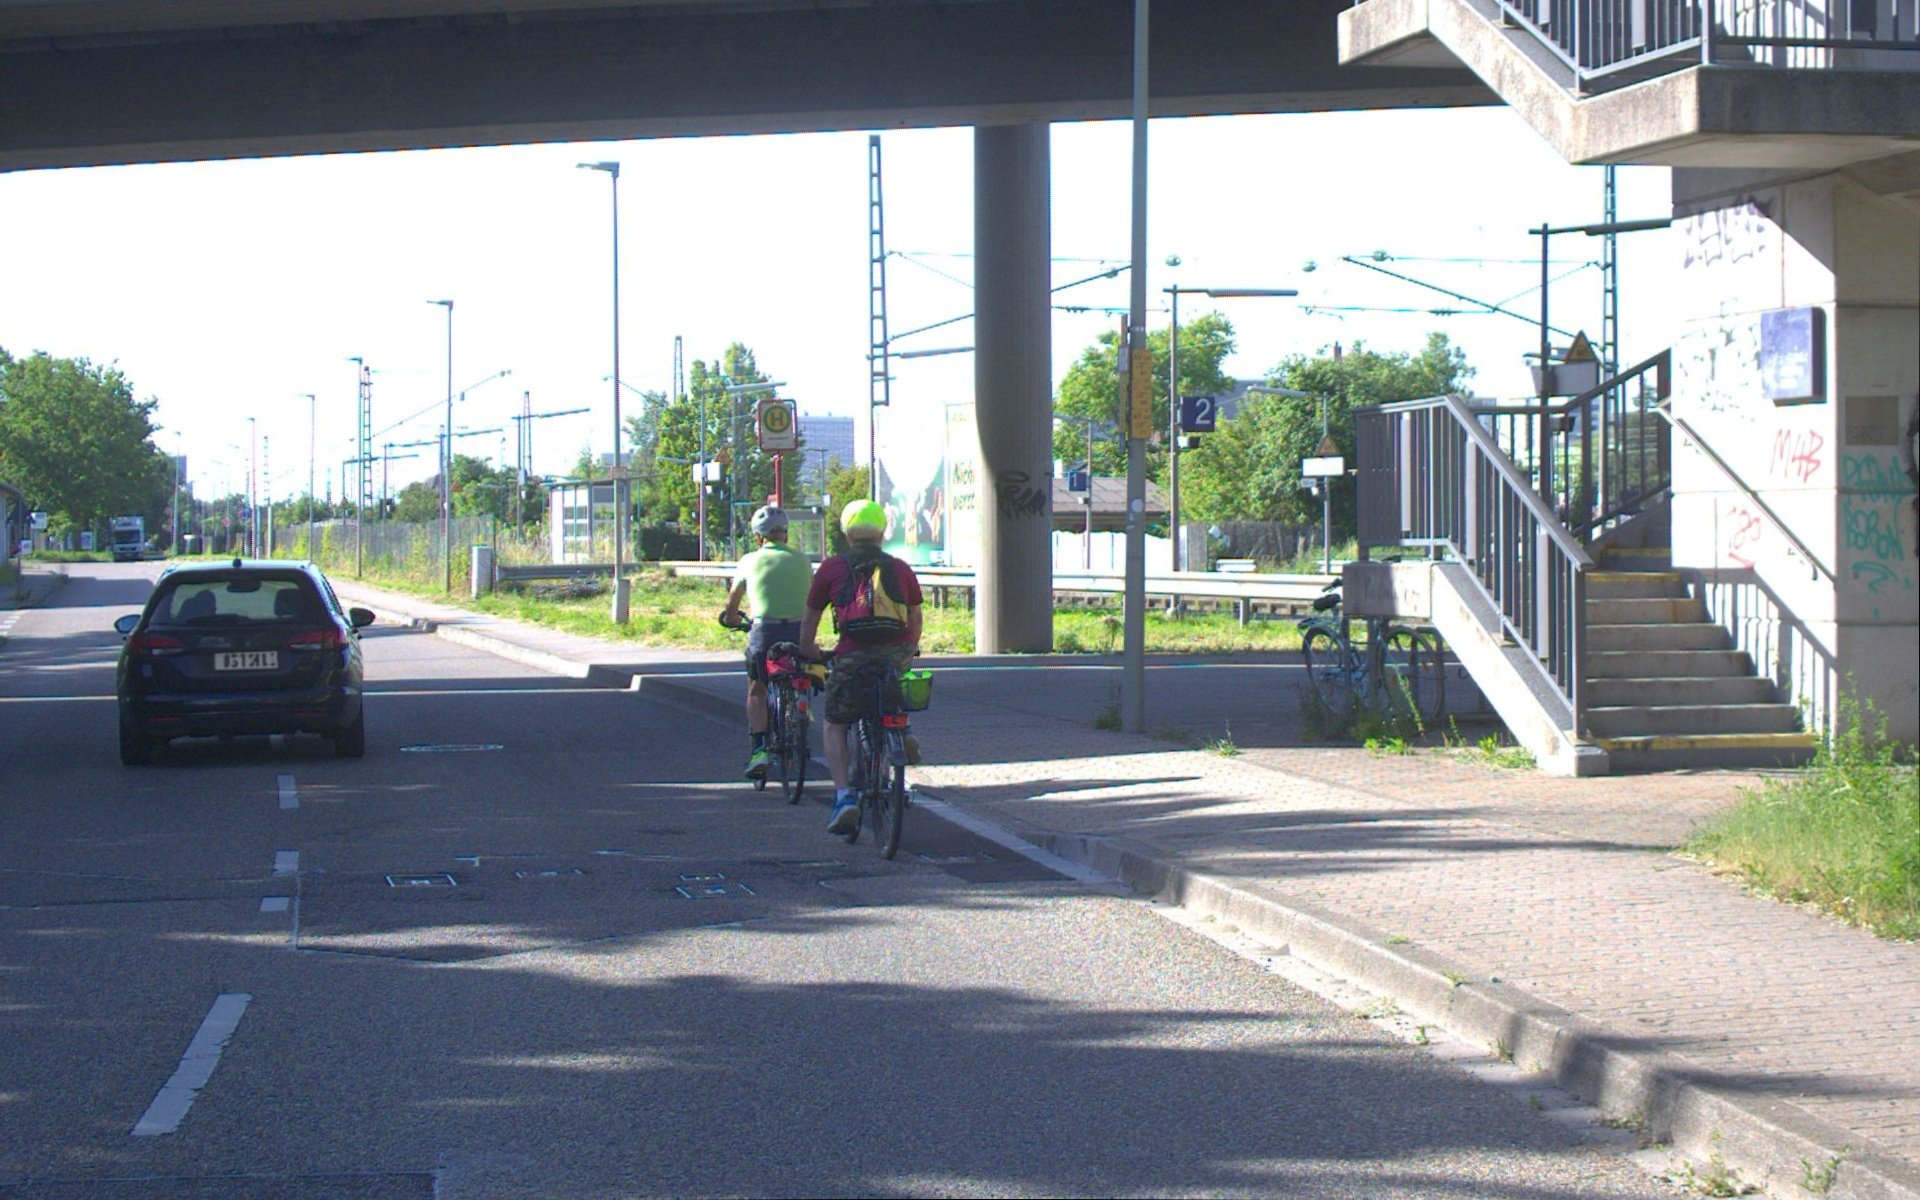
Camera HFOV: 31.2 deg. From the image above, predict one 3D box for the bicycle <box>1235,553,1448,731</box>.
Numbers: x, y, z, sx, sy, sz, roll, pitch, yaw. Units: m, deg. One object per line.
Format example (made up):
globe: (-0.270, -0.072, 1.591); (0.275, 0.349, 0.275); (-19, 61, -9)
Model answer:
bicycle: (2.673, 0.268, 24.340); (0.597, 1.178, 2.182); (-2, 2, -19)

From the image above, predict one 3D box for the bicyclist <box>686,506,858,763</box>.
bicyclist: (-1.130, 0.190, 20.552); (0.840, 1.483, 0.924); (-1, 1, -14)

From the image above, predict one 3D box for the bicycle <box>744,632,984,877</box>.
bicycle: (-0.511, 0.725, 17.050); (0.840, 1.048, 2.190); (-1, 2, -11)

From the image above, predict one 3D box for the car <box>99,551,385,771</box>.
car: (-5.540, 0.390, 26.349); (1.942, 1.483, 4.567); (-1, 1, -13)

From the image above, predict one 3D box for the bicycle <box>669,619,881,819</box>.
bicycle: (-1.136, 0.679, 20.599); (0.840, 1.048, 2.190); (-1, 2, -14)

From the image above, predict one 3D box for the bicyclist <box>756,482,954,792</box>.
bicyclist: (-0.531, 0.164, 17.080); (0.840, 1.483, 0.924); (-1, 1, -10)
